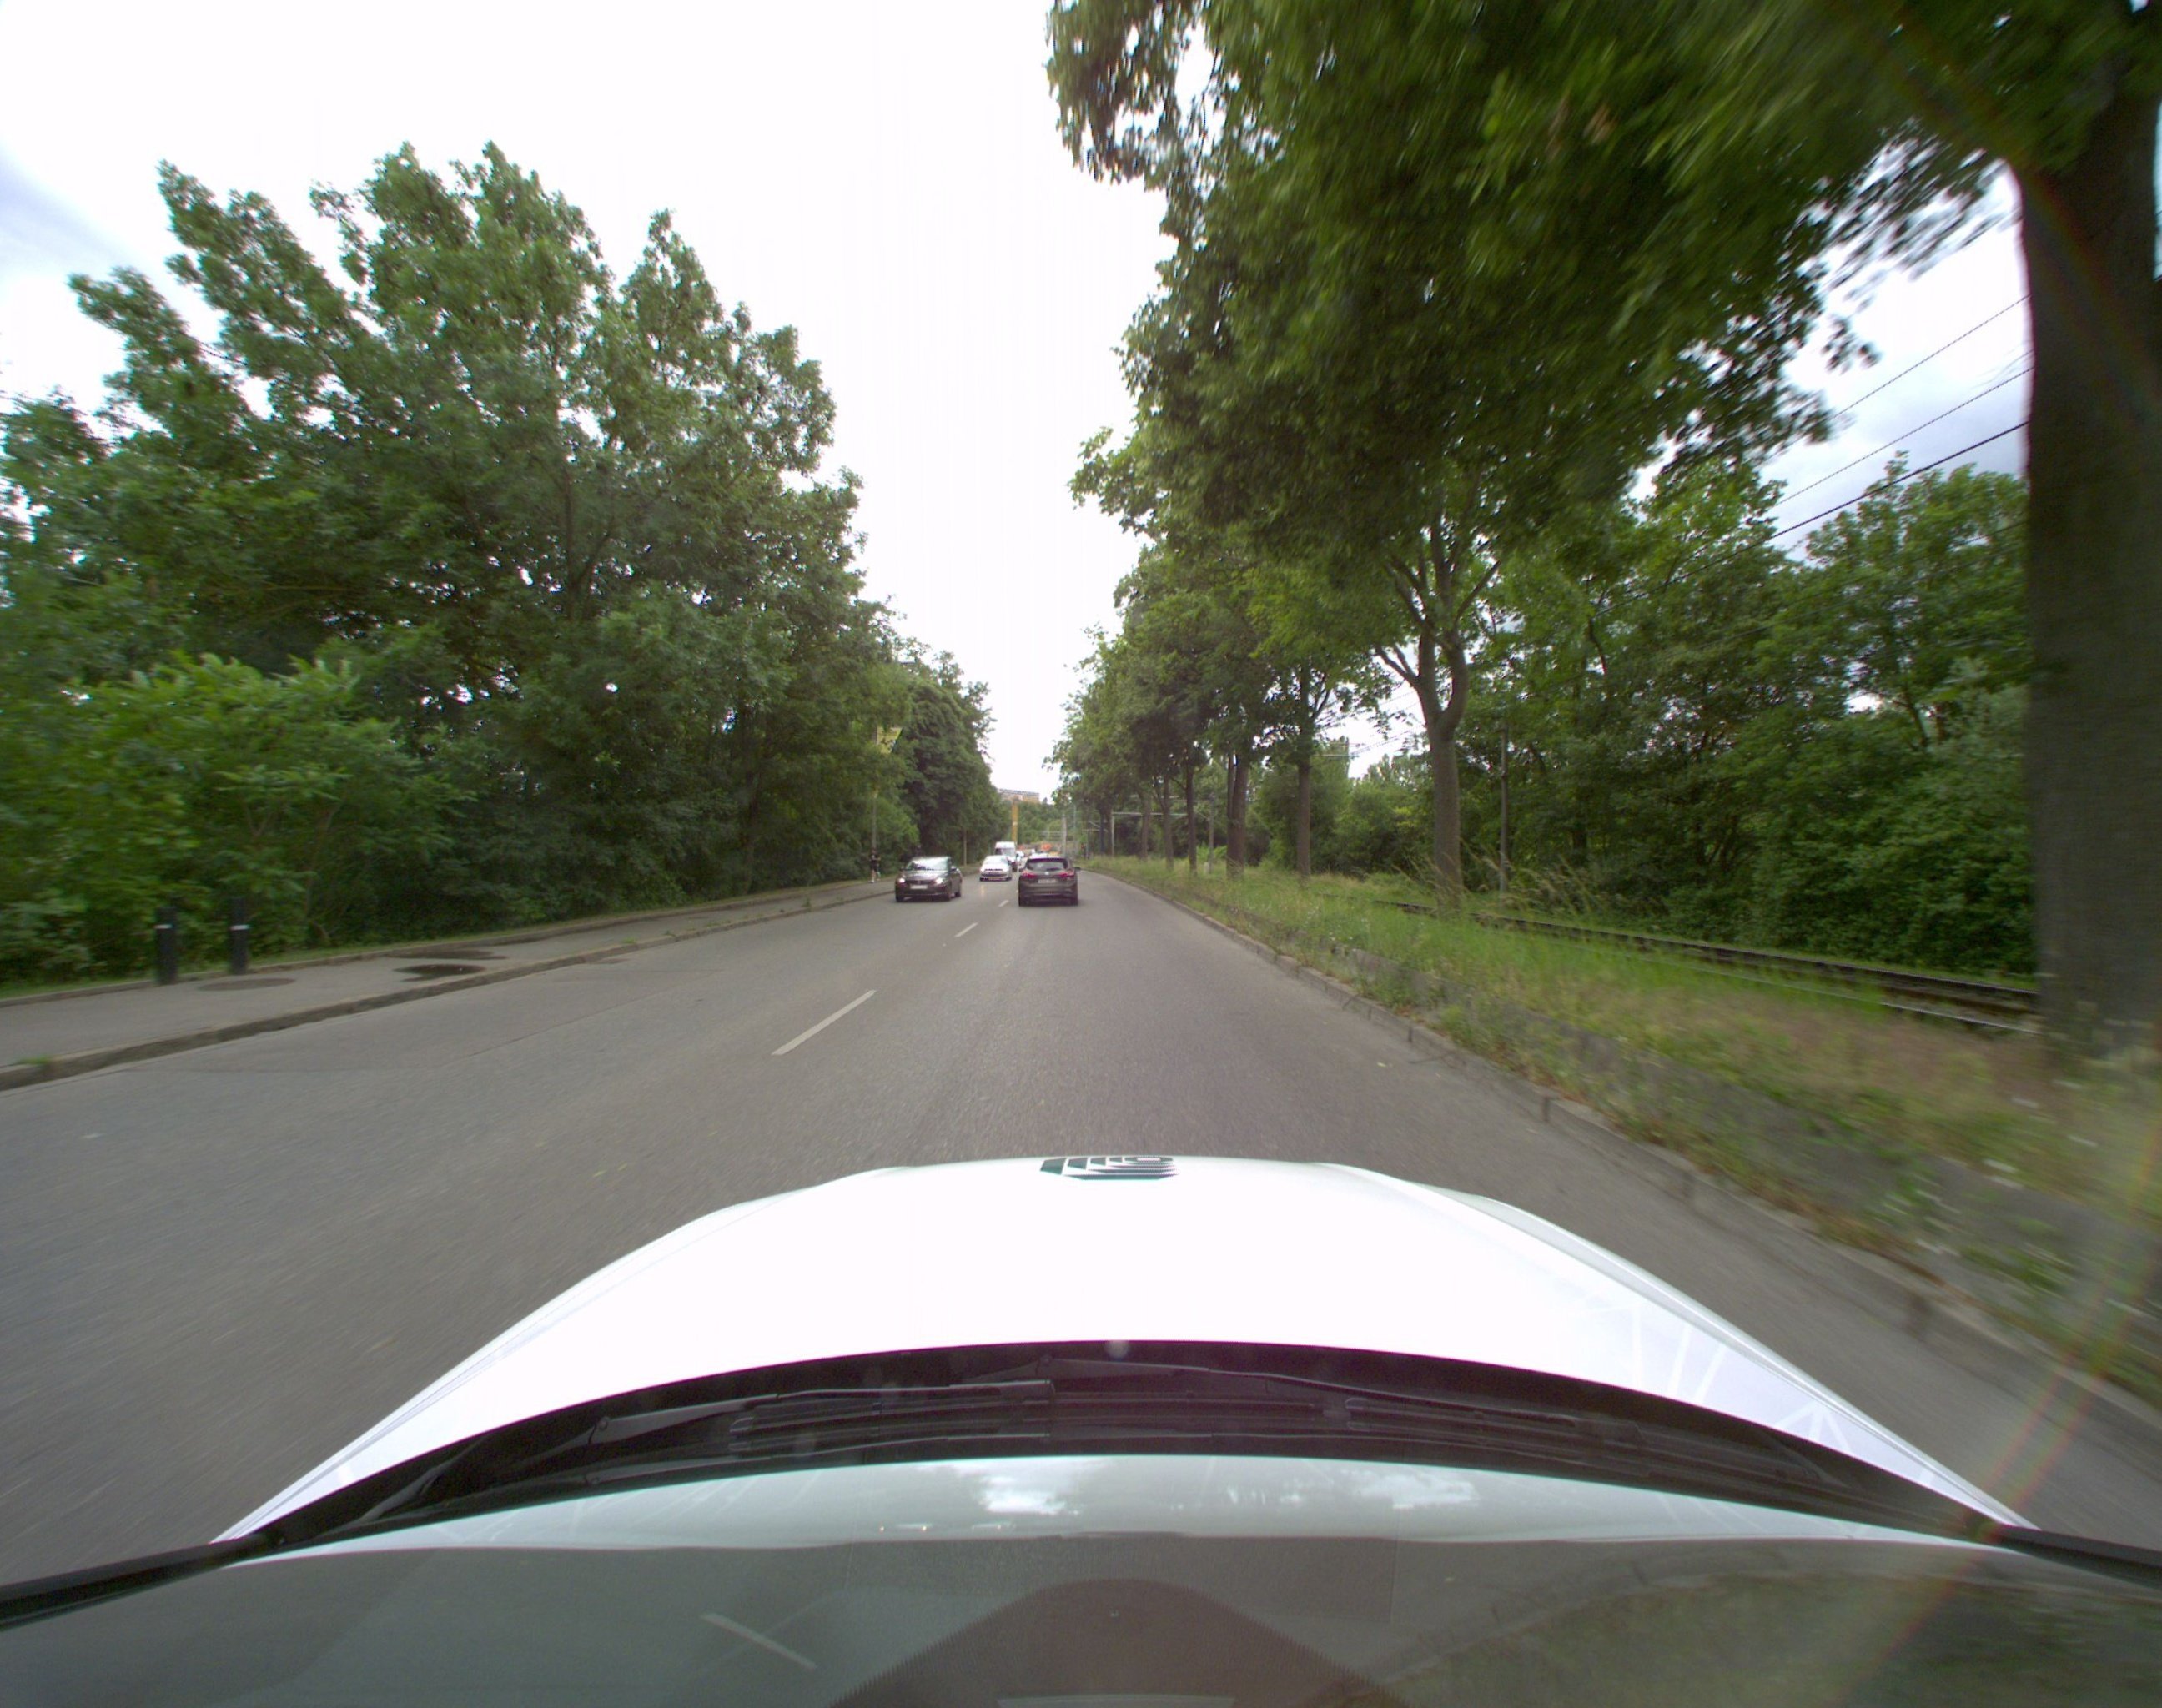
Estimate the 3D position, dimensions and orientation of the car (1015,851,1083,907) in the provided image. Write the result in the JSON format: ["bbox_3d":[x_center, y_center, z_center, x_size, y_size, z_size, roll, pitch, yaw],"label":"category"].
[{"bbox_3d":[-0.928,0.709,25.376,1.809,1.508,4.002,-1,1,2],"label":"car"}]

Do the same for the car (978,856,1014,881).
[{"bbox_3d":[-4.872,0.805,47.063,1.719,1.330,3.476,1,1,0],"label":"car"}]

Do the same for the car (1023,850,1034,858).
[{"bbox_3d":[-9.519,0.004,148.122,1.770,1.472,4.000,1,1,0],"label":"car"}]

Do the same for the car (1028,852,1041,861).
[{"bbox_3d":[-7.642,0.399,134.051,1.770,1.472,4.000,2,1,0],"label":"car"}]

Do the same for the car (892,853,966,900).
[{"bbox_3d":[-5.128,0.729,27.956,1.743,1.464,3.920,1,0,0],"label":"car"}]

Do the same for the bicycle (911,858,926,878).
[{"bbox_3d":[-8.898,0.766,44.559,0.486,1.030,1.125,2,1,2],"label":"bicycle"}]

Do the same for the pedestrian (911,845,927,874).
[{"bbox_3d":[-8.866,0.297,44.486,0.615,1.571,0.850,2,1,2],"label":"pedestrian"}]

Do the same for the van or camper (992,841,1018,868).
[{"bbox_3d":[-6.522,-0.010,70.296,1.921,2.151,3.928,2,1,-3],"label":"van or camper"}]

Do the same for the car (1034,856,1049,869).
[{"bbox_3d":[-5.074,1.031,103.987,1.773,1.472,3.994,2,1,-5],"label":"car"}]

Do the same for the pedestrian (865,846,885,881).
[{"bbox_3d":[-9.781,0.455,38.738,0.693,1.621,0.685,2,1,1],"label":"pedestrian"}]
